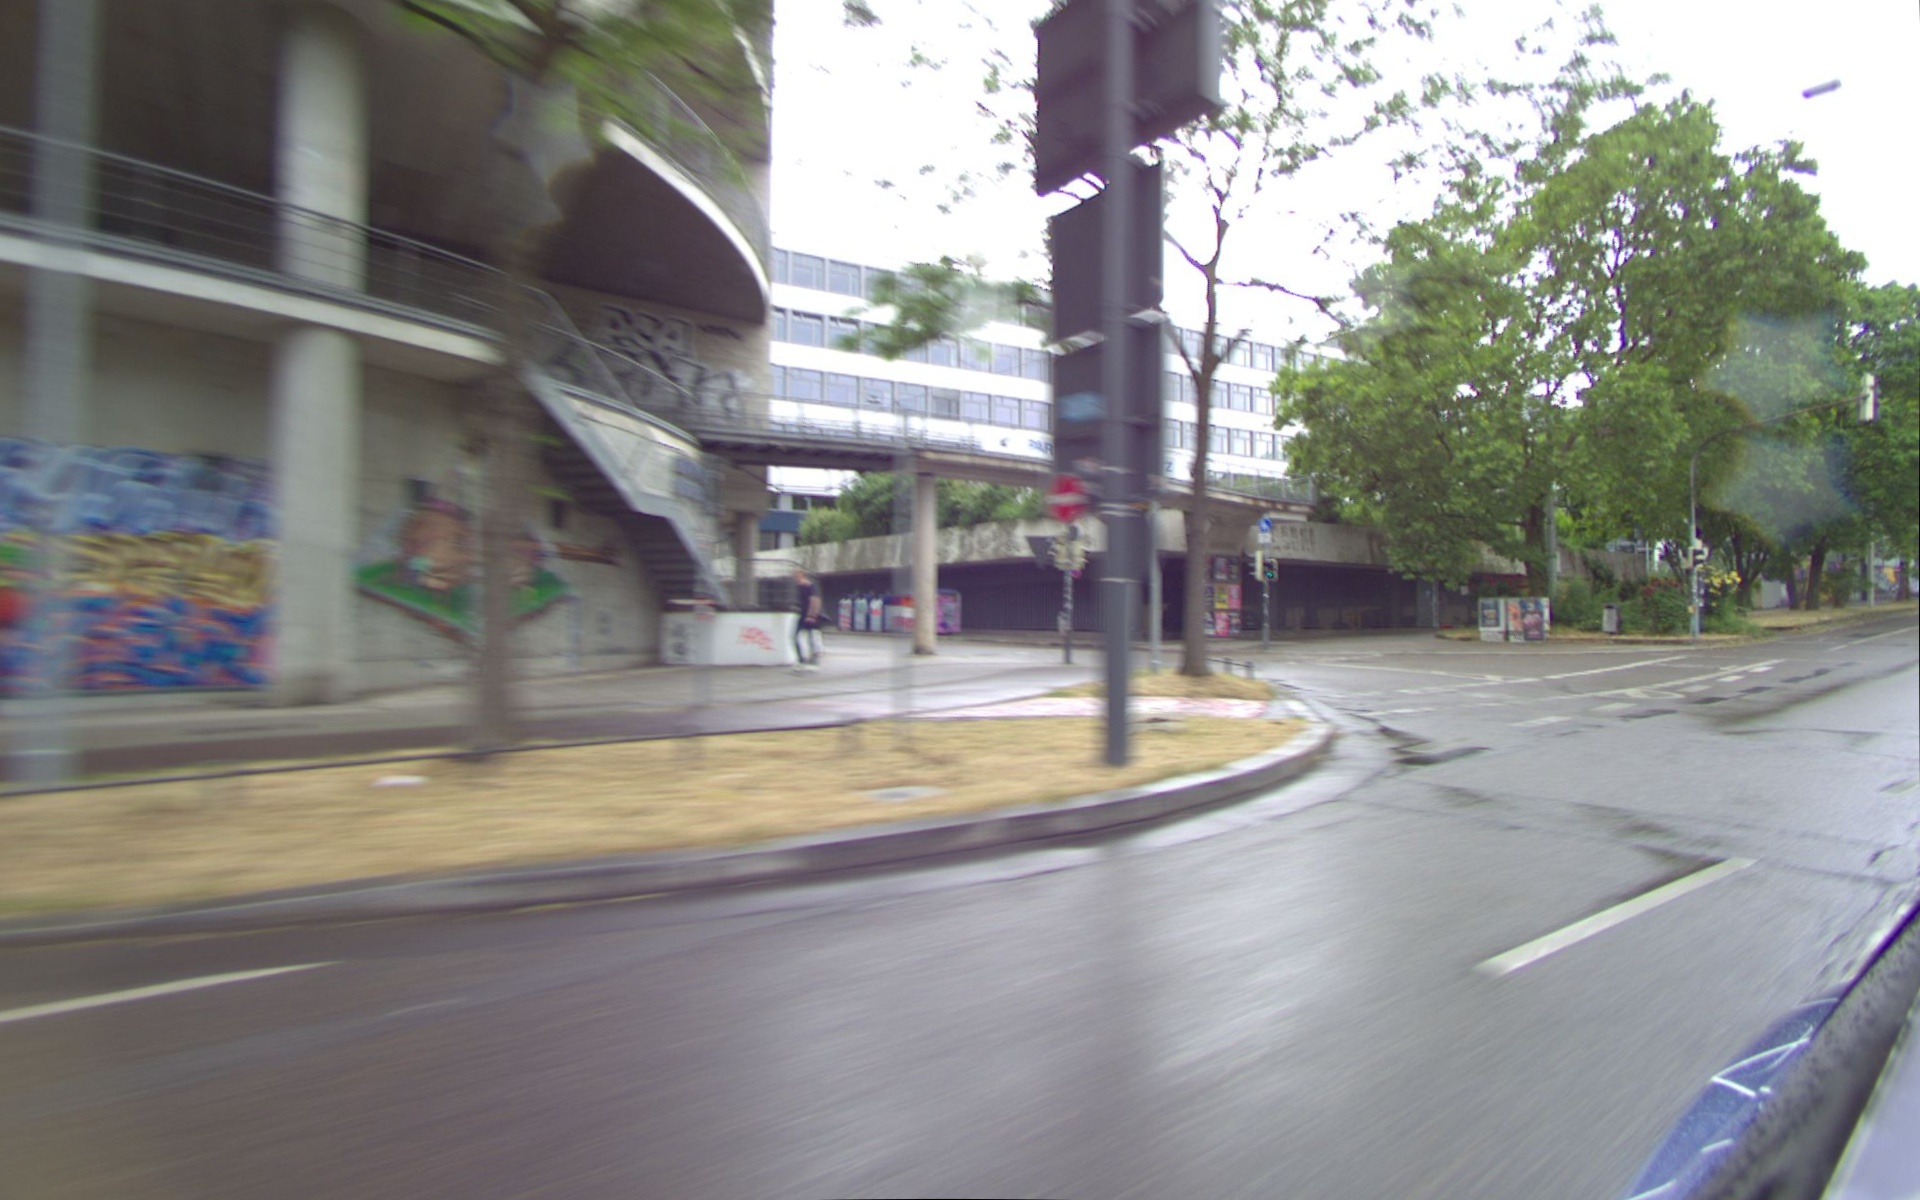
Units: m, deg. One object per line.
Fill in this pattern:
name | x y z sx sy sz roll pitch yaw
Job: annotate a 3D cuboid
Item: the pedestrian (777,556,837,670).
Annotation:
pedestrian | -2.819 0.233 18.649 0.745 2.039 0.870 0 -1 -40
